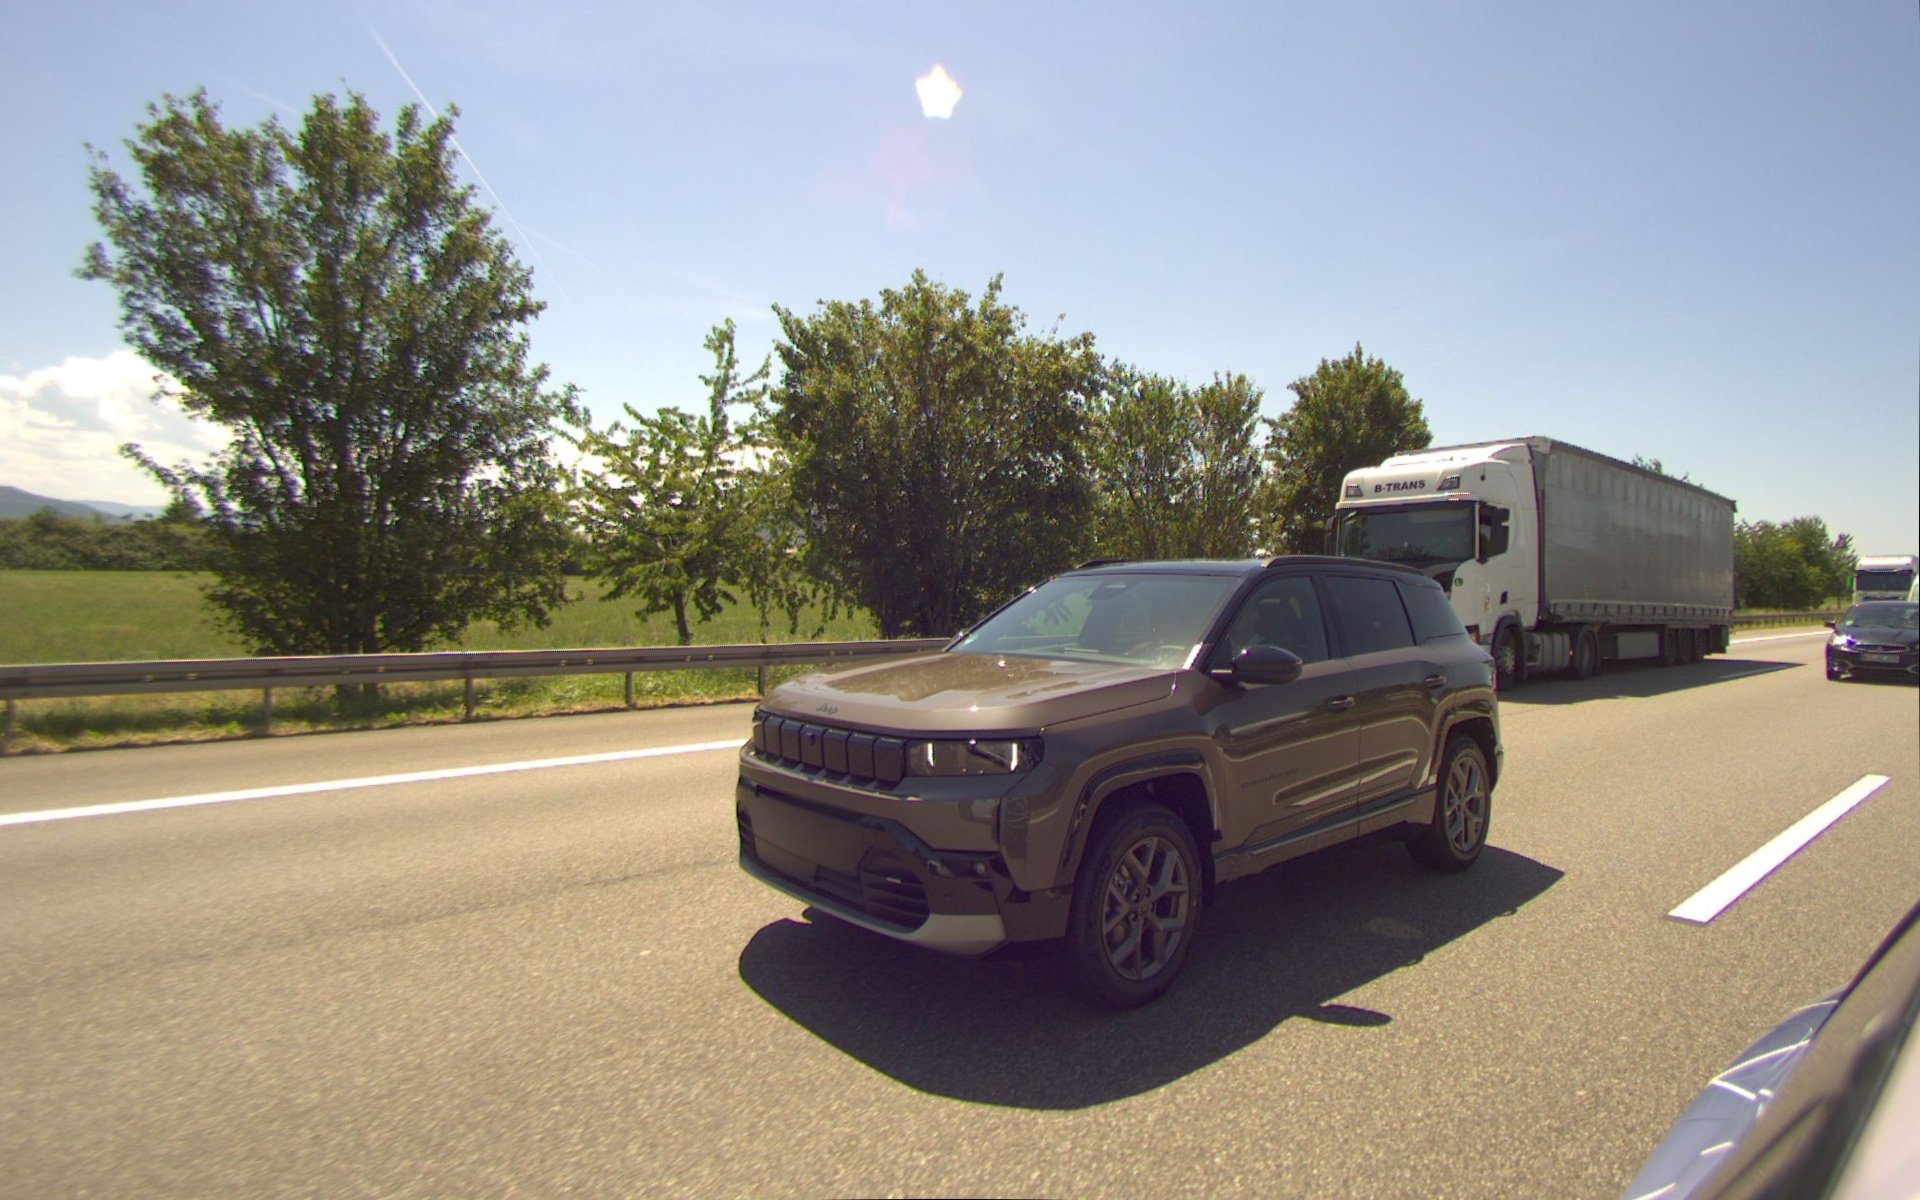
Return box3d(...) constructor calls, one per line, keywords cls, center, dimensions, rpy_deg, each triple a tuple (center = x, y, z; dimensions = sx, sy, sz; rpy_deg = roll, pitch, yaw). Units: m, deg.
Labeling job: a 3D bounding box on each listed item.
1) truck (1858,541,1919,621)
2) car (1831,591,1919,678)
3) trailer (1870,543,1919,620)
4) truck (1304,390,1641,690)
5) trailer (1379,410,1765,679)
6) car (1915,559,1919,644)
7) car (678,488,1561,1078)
box3d(cls="truck", center=(50.943, -0.971, 54.387), dimensions=(7.562, 4.016, 2.699), rpy_deg=(0, 0, -38))
box3d(cls="car", center=(17.582, 0.599, 18.821), dimensions=(3.374, 1.492, 1.690), rpy_deg=(0, 0, -42))
box3d(cls="trailer", center=(55.474, -0.981, 57.973), dimensions=(13.706, 4.016, 2.699), rpy_deg=(0, 0, -38))
box3d(cls="truck", center=(9.342, -0.905, 18.065), dimensions=(7.065, 4.359, 2.815), rpy_deg=(0, 0, -40))
box3d(cls="trailer", center=(13.938, -0.946, 21.961), dimensions=(14.001, 4.359, 2.815), rpy_deg=(0, 0, -40))
box3d(cls="car", center=(31.408, 0.021, 31.337), dimensions=(5.843, 2.540, 2.156), rpy_deg=(0, 0, -41))
box3d(cls="car", center=(1.157, 0.508, 5.148), dimensions=(4.662, 1.696, 1.870), rpy_deg=(0, 0, -40))
